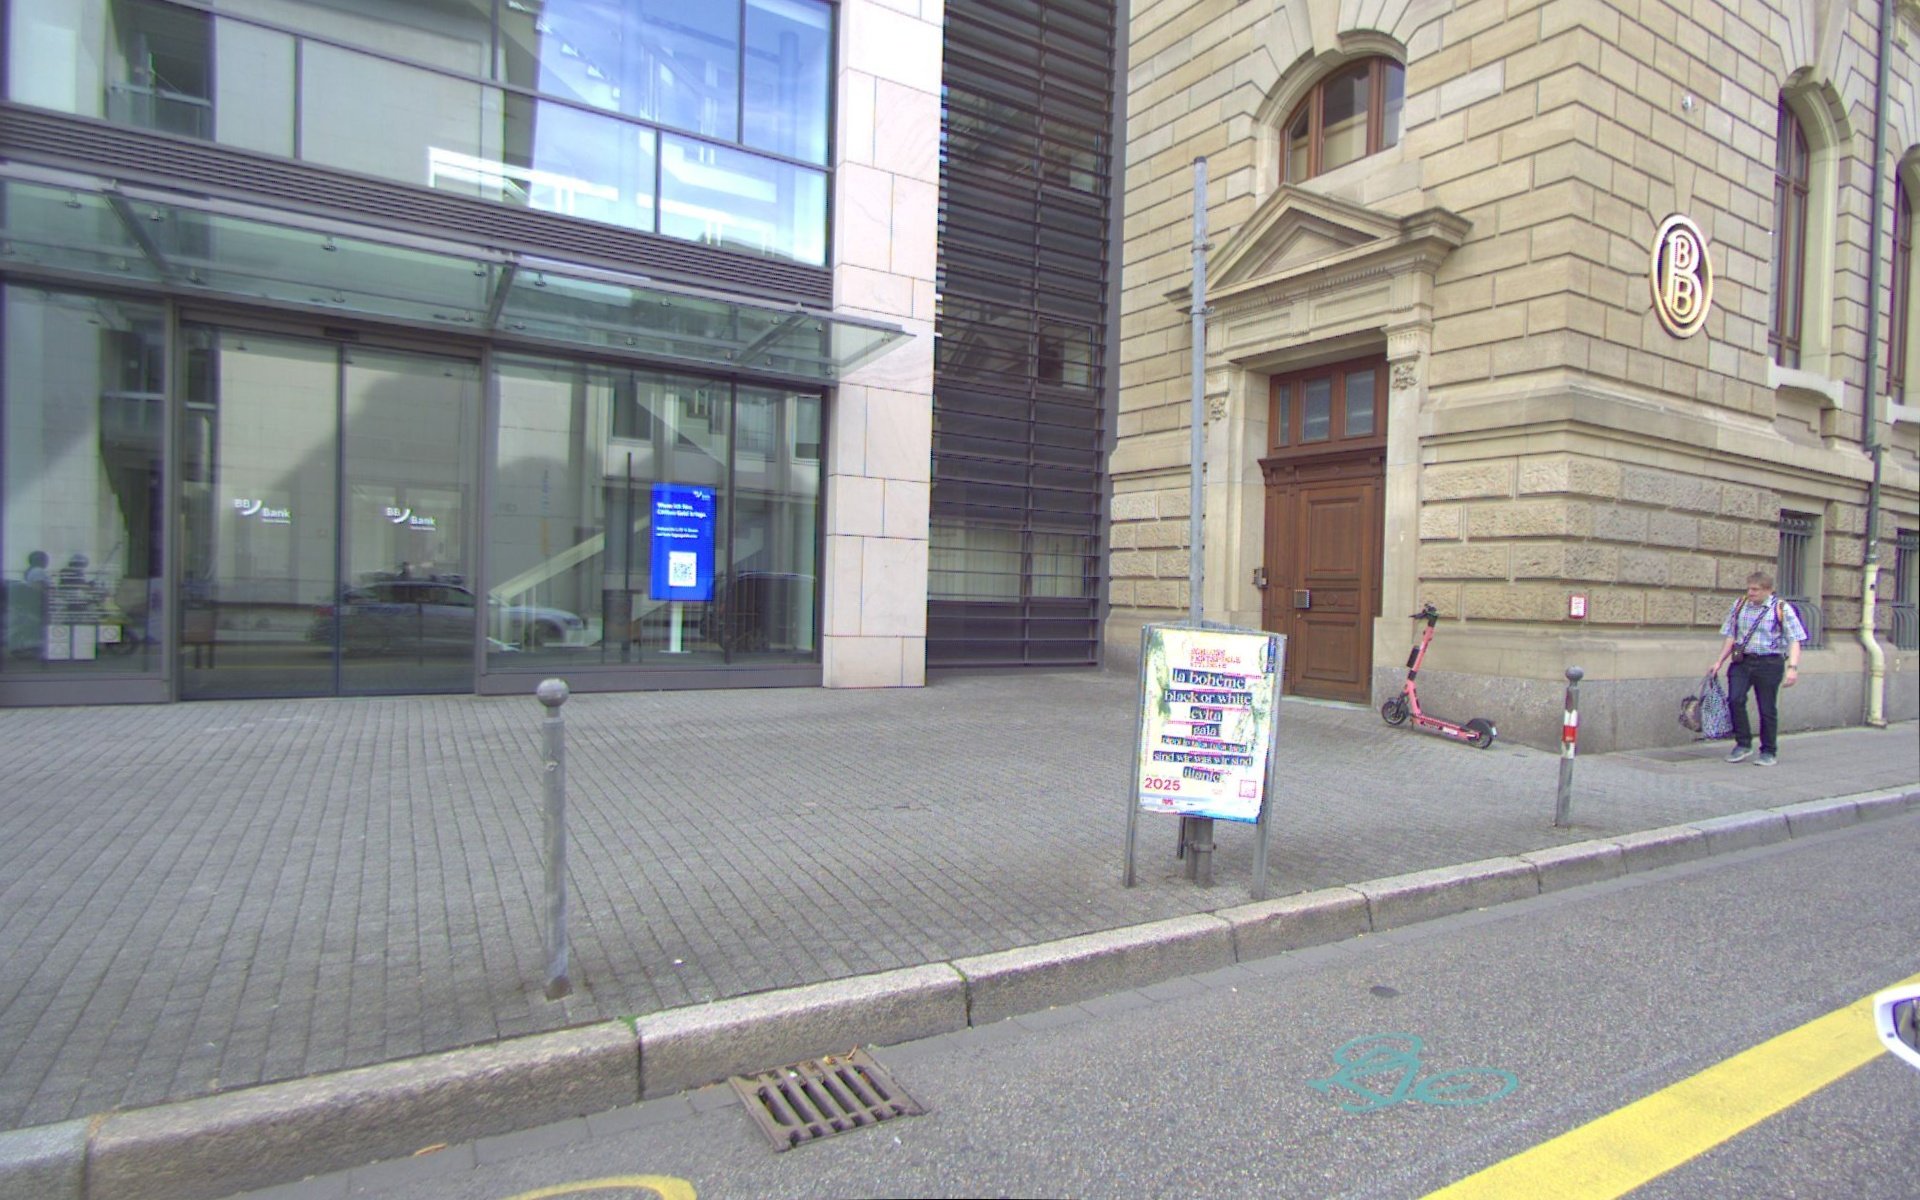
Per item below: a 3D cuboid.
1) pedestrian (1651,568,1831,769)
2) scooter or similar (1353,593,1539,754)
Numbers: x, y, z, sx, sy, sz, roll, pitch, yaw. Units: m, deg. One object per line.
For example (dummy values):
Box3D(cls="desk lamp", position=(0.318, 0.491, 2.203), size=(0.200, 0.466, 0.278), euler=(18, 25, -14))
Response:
Box3D(cls="pedestrian", position=(7.318, 0.603, 9.443), size=(0.809, 1.743, 1.021), euler=(2, 2, -30))
Box3D(cls="scooter or similar", position=(4.556, 0.639, 9.510), size=(0.580, 1.328, 1.439), euler=(0, 4, -30))
